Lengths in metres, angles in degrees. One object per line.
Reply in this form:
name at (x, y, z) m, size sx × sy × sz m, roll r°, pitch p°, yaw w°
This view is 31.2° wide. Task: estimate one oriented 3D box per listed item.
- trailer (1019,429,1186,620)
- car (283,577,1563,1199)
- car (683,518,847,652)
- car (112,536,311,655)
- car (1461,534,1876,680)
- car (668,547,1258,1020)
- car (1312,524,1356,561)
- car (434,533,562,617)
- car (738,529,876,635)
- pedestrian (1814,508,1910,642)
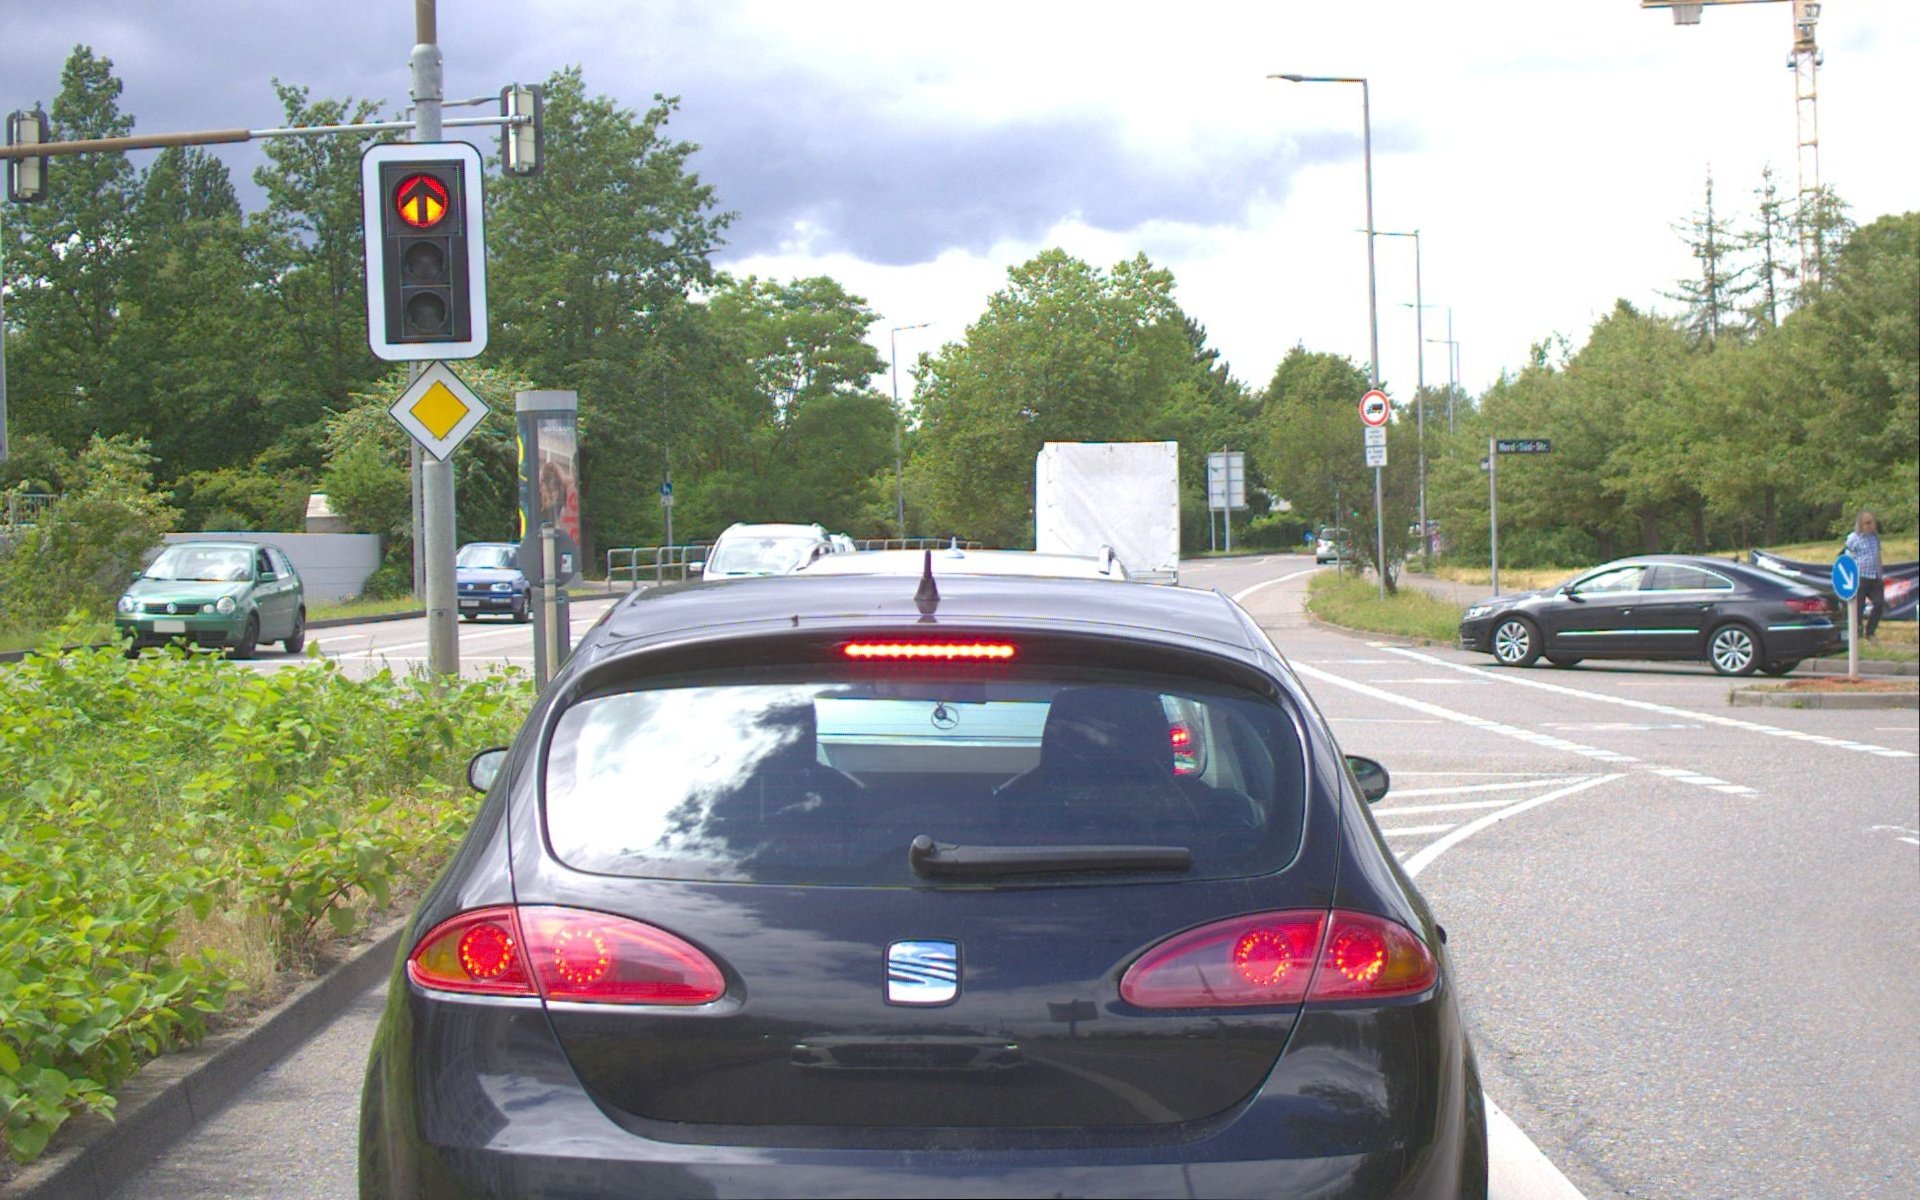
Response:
trailer at (2.362, -1.247, 58.546) m, size 2.491 × 3.063 × 5.587 m, roll 1°, pitch 1°, yaw -1°
car at (-0.067, 0.695, 6.349) m, size 1.711 × 1.412 × 3.459 m, roll 1°, pitch 1°, yaw 0°
car at (-2.568, -0.250, 46.208) m, size 1.820 × 1.681 × 4.645 m, roll 1°, pitch 1°, yaw 1°
car at (-9.428, -0.094, 43.521) m, size 1.605 × 1.427 × 3.752 m, roll 0°, pitch 1°, yaw 2°
car at (8.534, 0.043, 41.495) m, size 4.464 × 1.560 × 1.997 m, roll 2°, pitch 2°, yaw 30°
car at (0.029, 0.557, 12.690) m, size 1.834 × 1.462 × 3.751 m, roll 1°, pitch 1°, yaw 1°
car at (16.468, -2.528, 151.261) m, size 1.668 × 1.590 × 3.998 m, roll 1°, pitch 1°, yaw 10°
car at (-8.178, -0.468, 61.087) m, size 1.554 × 1.414 × 3.895 m, roll 0°, pitch 1°, yaw 3°
car at (-2.287, -0.304, 52.286) m, size 1.660 × 1.513 × 4.084 m, roll 1°, pitch 1°, yaw 3°
pedestrian at (12.181, -0.340, 46.455) m, size 0.718 × 1.786 × 1.044 m, roll 1°, pitch 0°, yaw -27°
